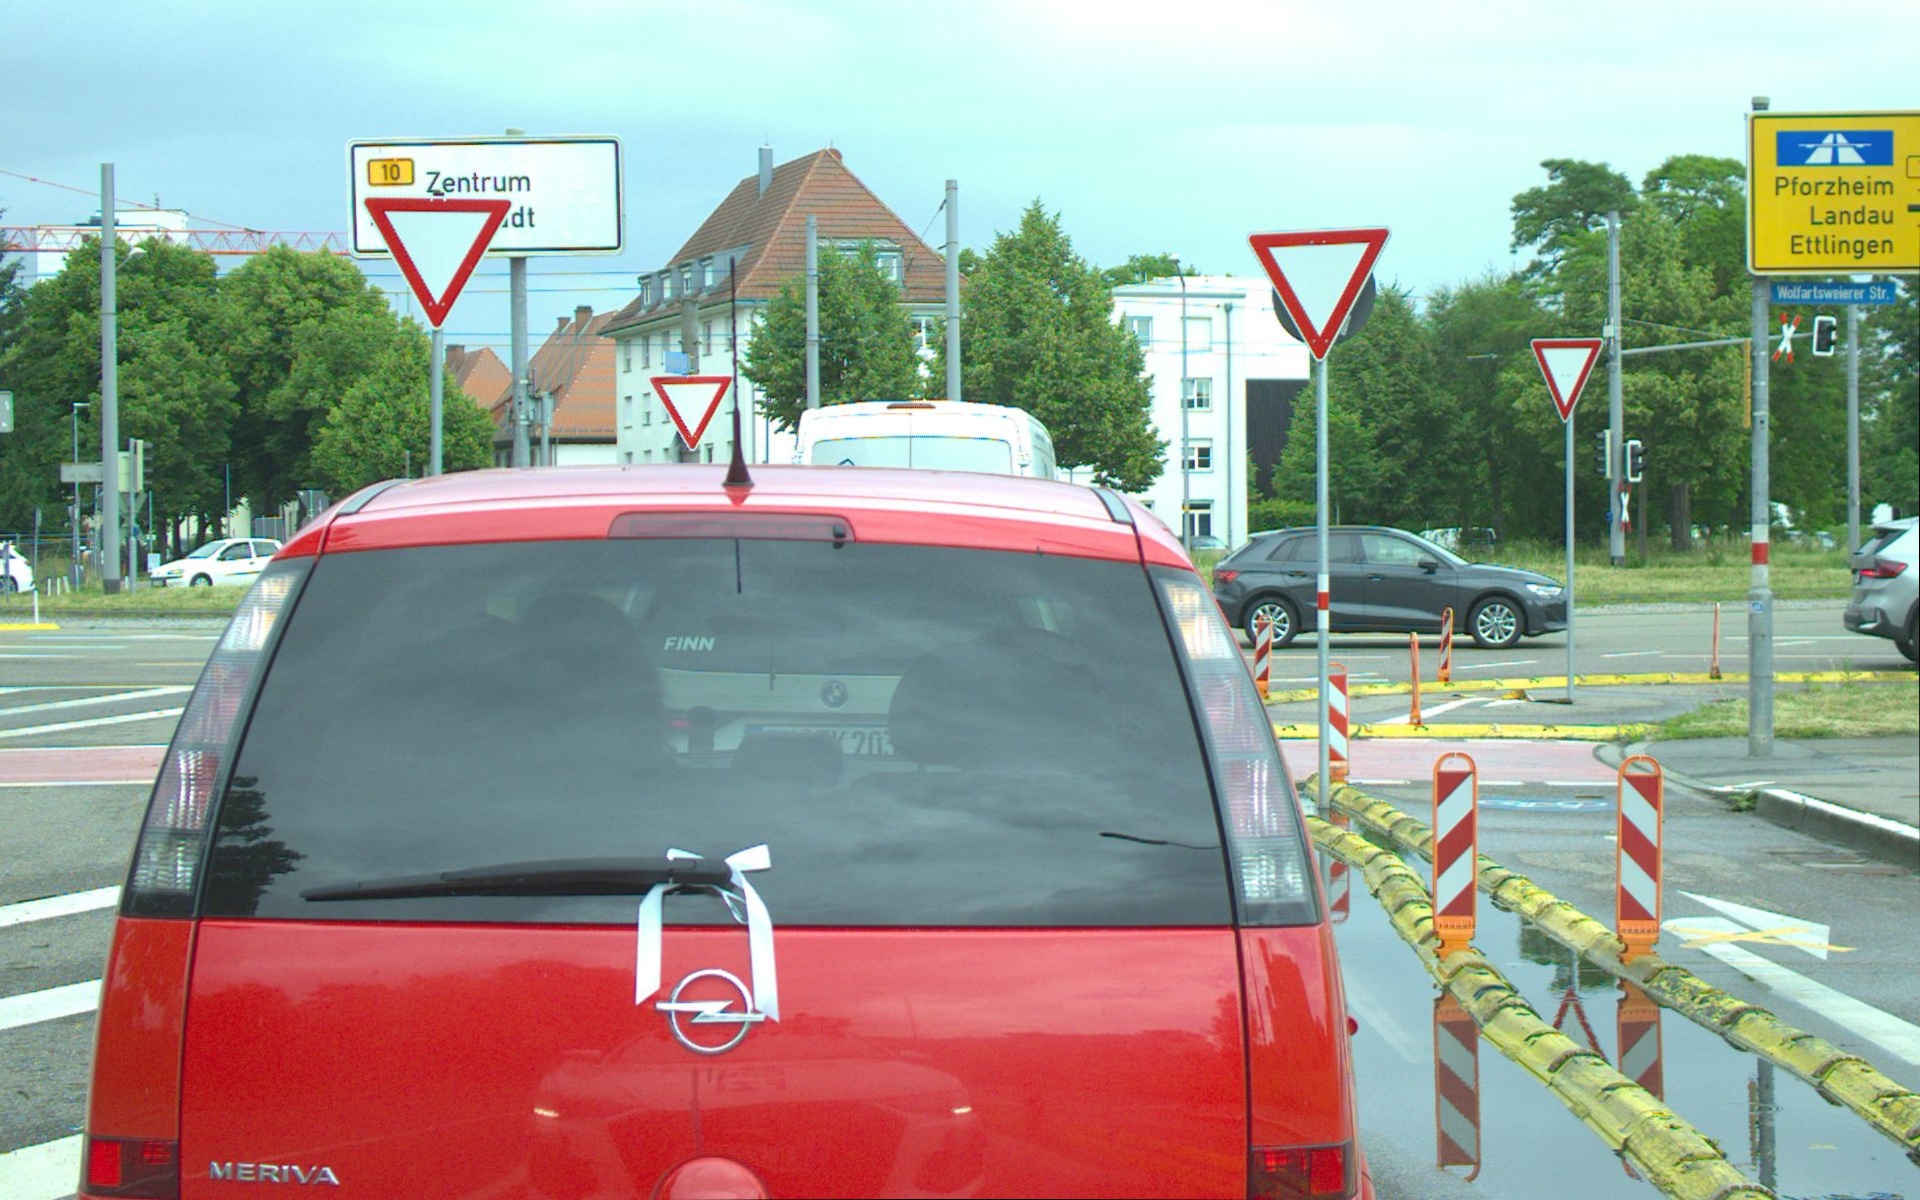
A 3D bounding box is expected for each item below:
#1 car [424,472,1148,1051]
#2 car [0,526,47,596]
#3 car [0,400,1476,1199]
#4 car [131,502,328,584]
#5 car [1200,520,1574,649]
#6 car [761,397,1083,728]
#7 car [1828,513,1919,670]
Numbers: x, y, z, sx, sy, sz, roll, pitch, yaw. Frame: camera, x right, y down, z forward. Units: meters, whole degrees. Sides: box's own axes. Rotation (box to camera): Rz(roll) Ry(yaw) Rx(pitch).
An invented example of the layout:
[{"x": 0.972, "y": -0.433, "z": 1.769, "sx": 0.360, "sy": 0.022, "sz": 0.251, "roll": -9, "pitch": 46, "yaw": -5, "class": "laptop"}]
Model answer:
[{"x": -0.529, "y": 0.417, "z": 12.177, "sx": 2.059, "sy": 1.642, "sz": 4.607, "roll": 1, "pitch": 1, "yaw": -1, "class": "car"}, {"x": -23.971, "y": -0.885, "z": 80.551, "sx": 1.998, "sy": 1.629, "sz": 4.665, "roll": 0, "pitch": 2, "yaw": 39, "class": "car"}, {"x": -0.320, "y": 0.575, "z": 5.478, "sx": 1.673, "sy": 1.635, "sz": 3.627, "roll": 1, "pitch": 1, "yaw": -1, "class": "car"}, {"x": -18.544, "y": -1.470, "z": 87.369, "sx": 4.467, "sy": 2.007, "sz": 1.999, "roll": -2, "pitch": 1, "yaw": -40, "class": "car"}, {"x": 5.090, "y": -0.202, "z": 41.050, "sx": 4.309, "sy": 1.459, "sz": 2.000, "roll": -1, "pitch": 1, "yaw": 7, "class": "car"}, {"x": -0.210, "y": -0.343, "z": 28.986, "sx": 2.195, "sy": 2.531, "sz": 4.961, "roll": 1, "pitch": 1, "yaw": 5, "class": "car"}, {"x": 11.411, "y": -0.123, "z": 35.528, "sx": 4.518, "sy": 1.577, "sz": 1.999, "roll": -1, "pitch": 1, "yaw": 8, "class": "car"}]
